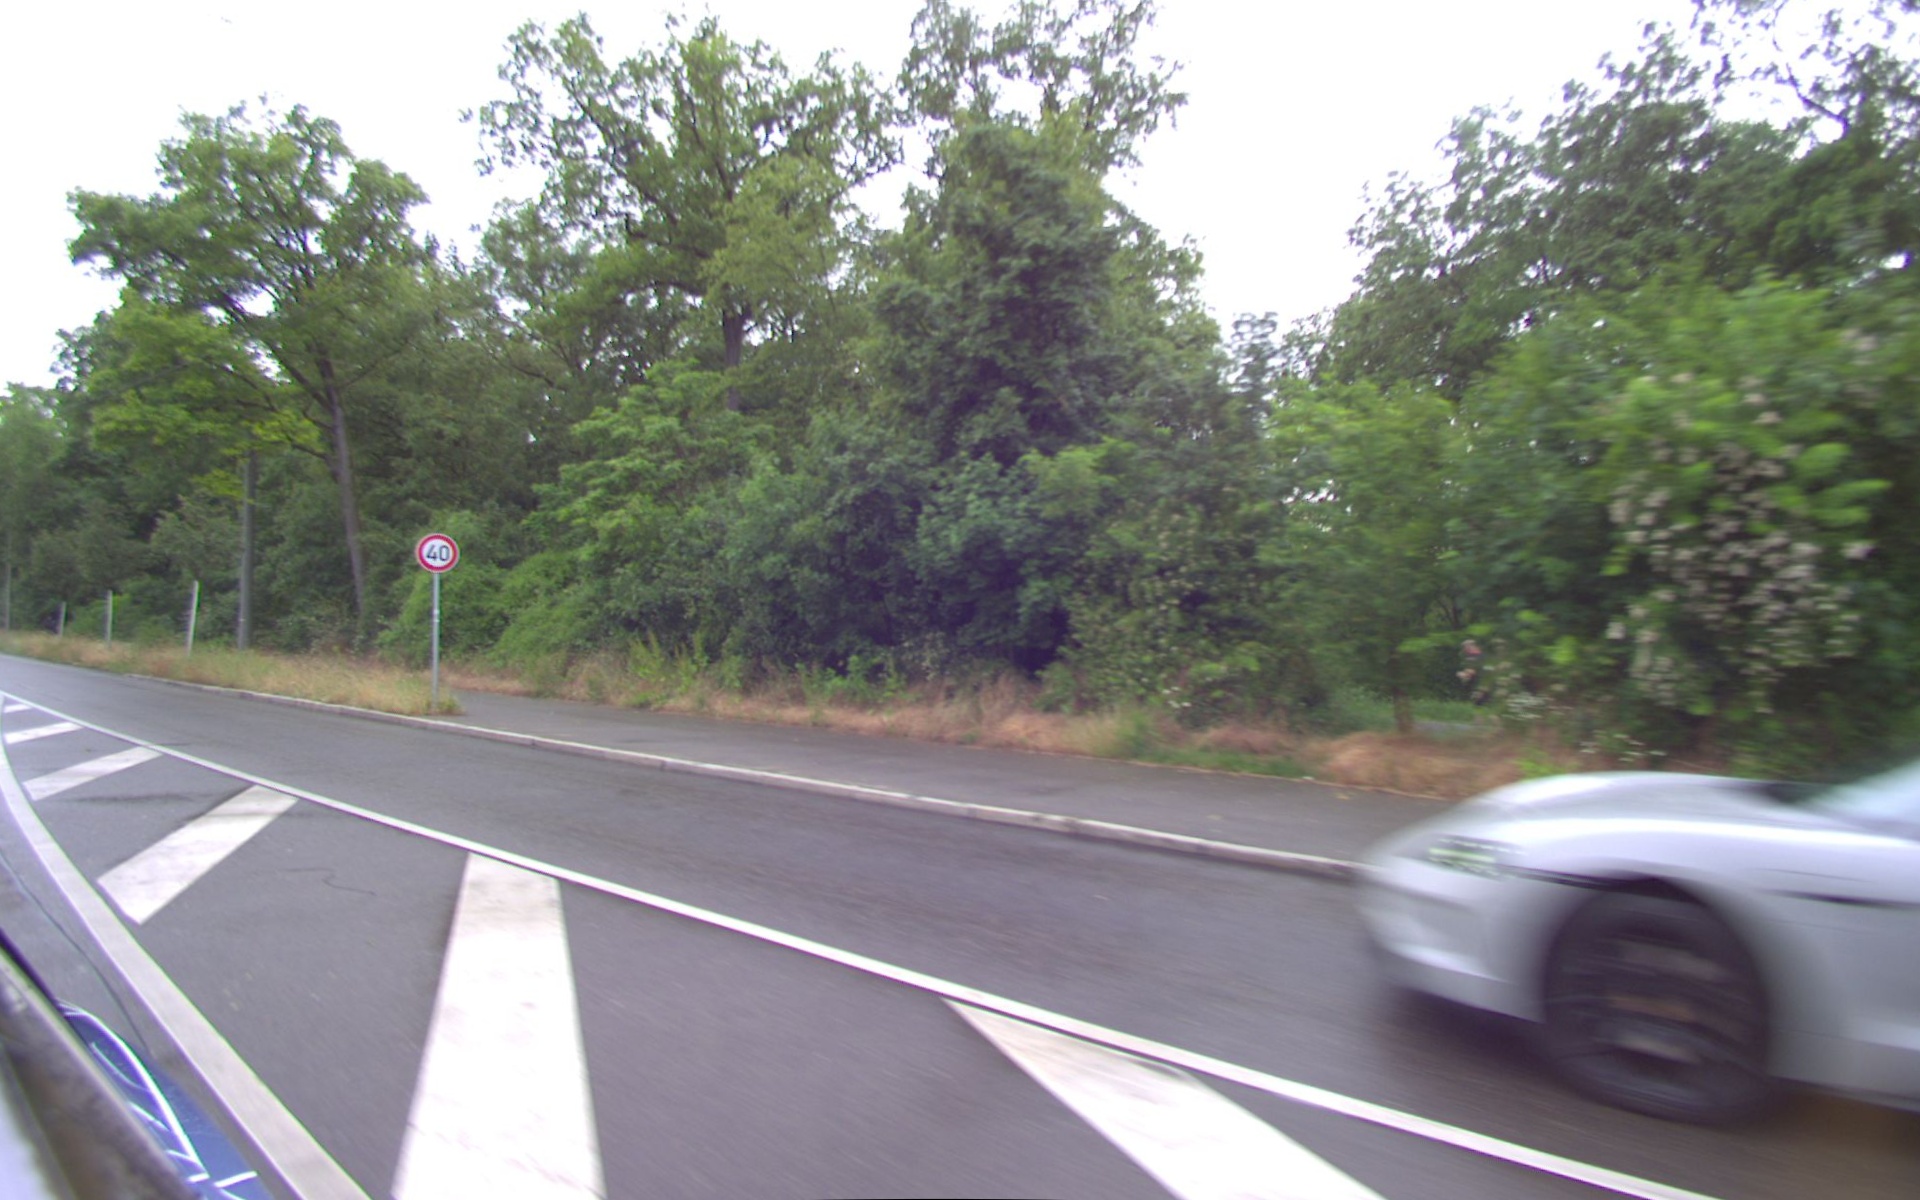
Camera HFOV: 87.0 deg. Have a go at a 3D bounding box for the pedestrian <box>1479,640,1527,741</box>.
[{"bbox_3d":[9.107,1.493,16.968,0.608,1.645,0.459,-1,-2,43],"label":"pedestrian"}]

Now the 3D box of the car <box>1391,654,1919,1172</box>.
[{"bbox_3d":[3.940,0.909,3.070,4.592,1.386,1.924,-1,-3,34],"label":"car"}]

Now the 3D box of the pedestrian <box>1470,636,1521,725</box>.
[{"bbox_3d":[8.648,1.281,16.341,0.601,1.389,0.637,-1,-2,41],"label":"pedestrian"}]
